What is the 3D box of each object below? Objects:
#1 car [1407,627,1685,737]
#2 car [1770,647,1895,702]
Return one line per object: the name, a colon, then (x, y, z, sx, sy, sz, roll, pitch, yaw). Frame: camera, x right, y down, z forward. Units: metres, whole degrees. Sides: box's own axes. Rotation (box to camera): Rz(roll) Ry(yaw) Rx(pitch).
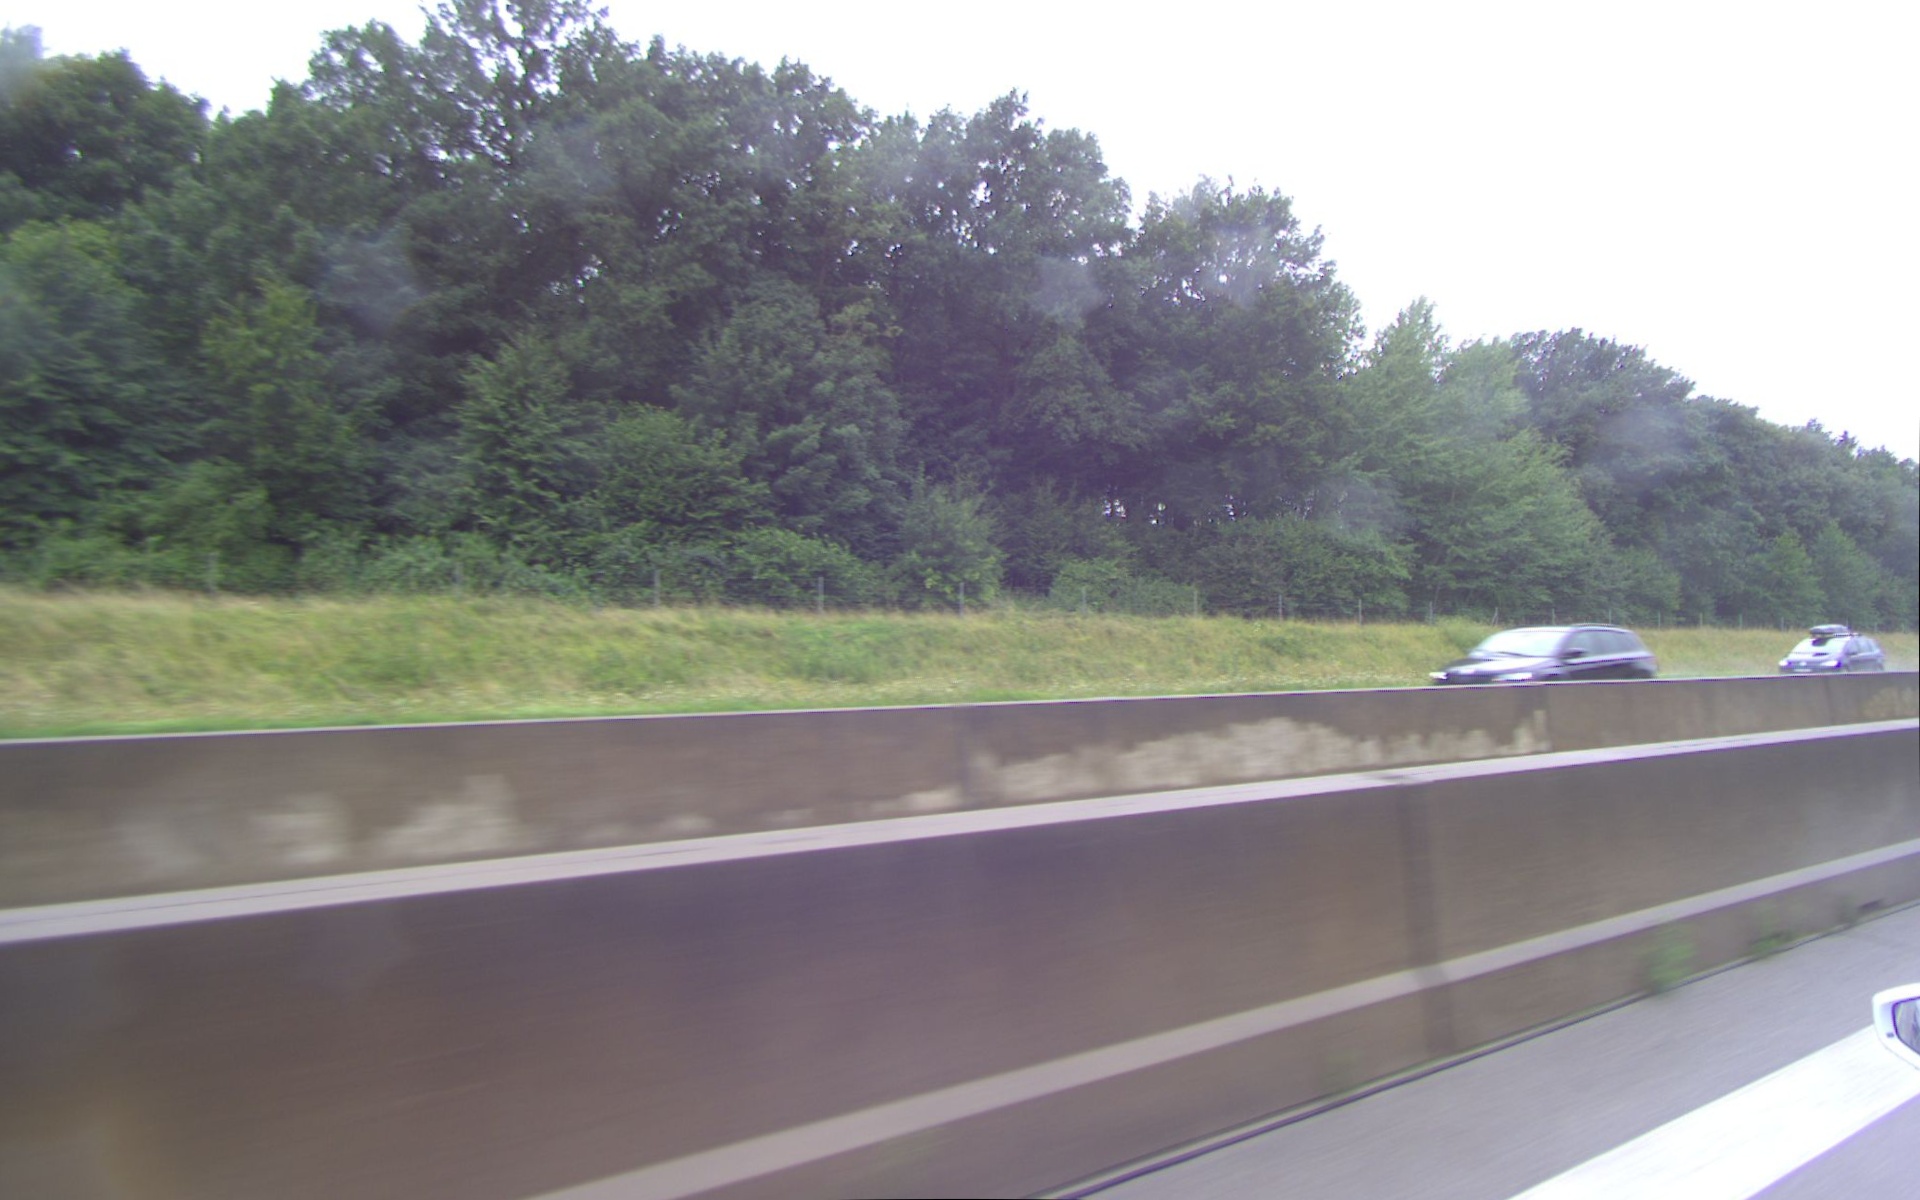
car: (9.982, 1.299, 17.045, 4.794, 1.631, 1.959, 1, -2, -30)
car: (31.508, 2.624, 36.253, 4.797, 1.826, 2.050, 2, -2, -31)
